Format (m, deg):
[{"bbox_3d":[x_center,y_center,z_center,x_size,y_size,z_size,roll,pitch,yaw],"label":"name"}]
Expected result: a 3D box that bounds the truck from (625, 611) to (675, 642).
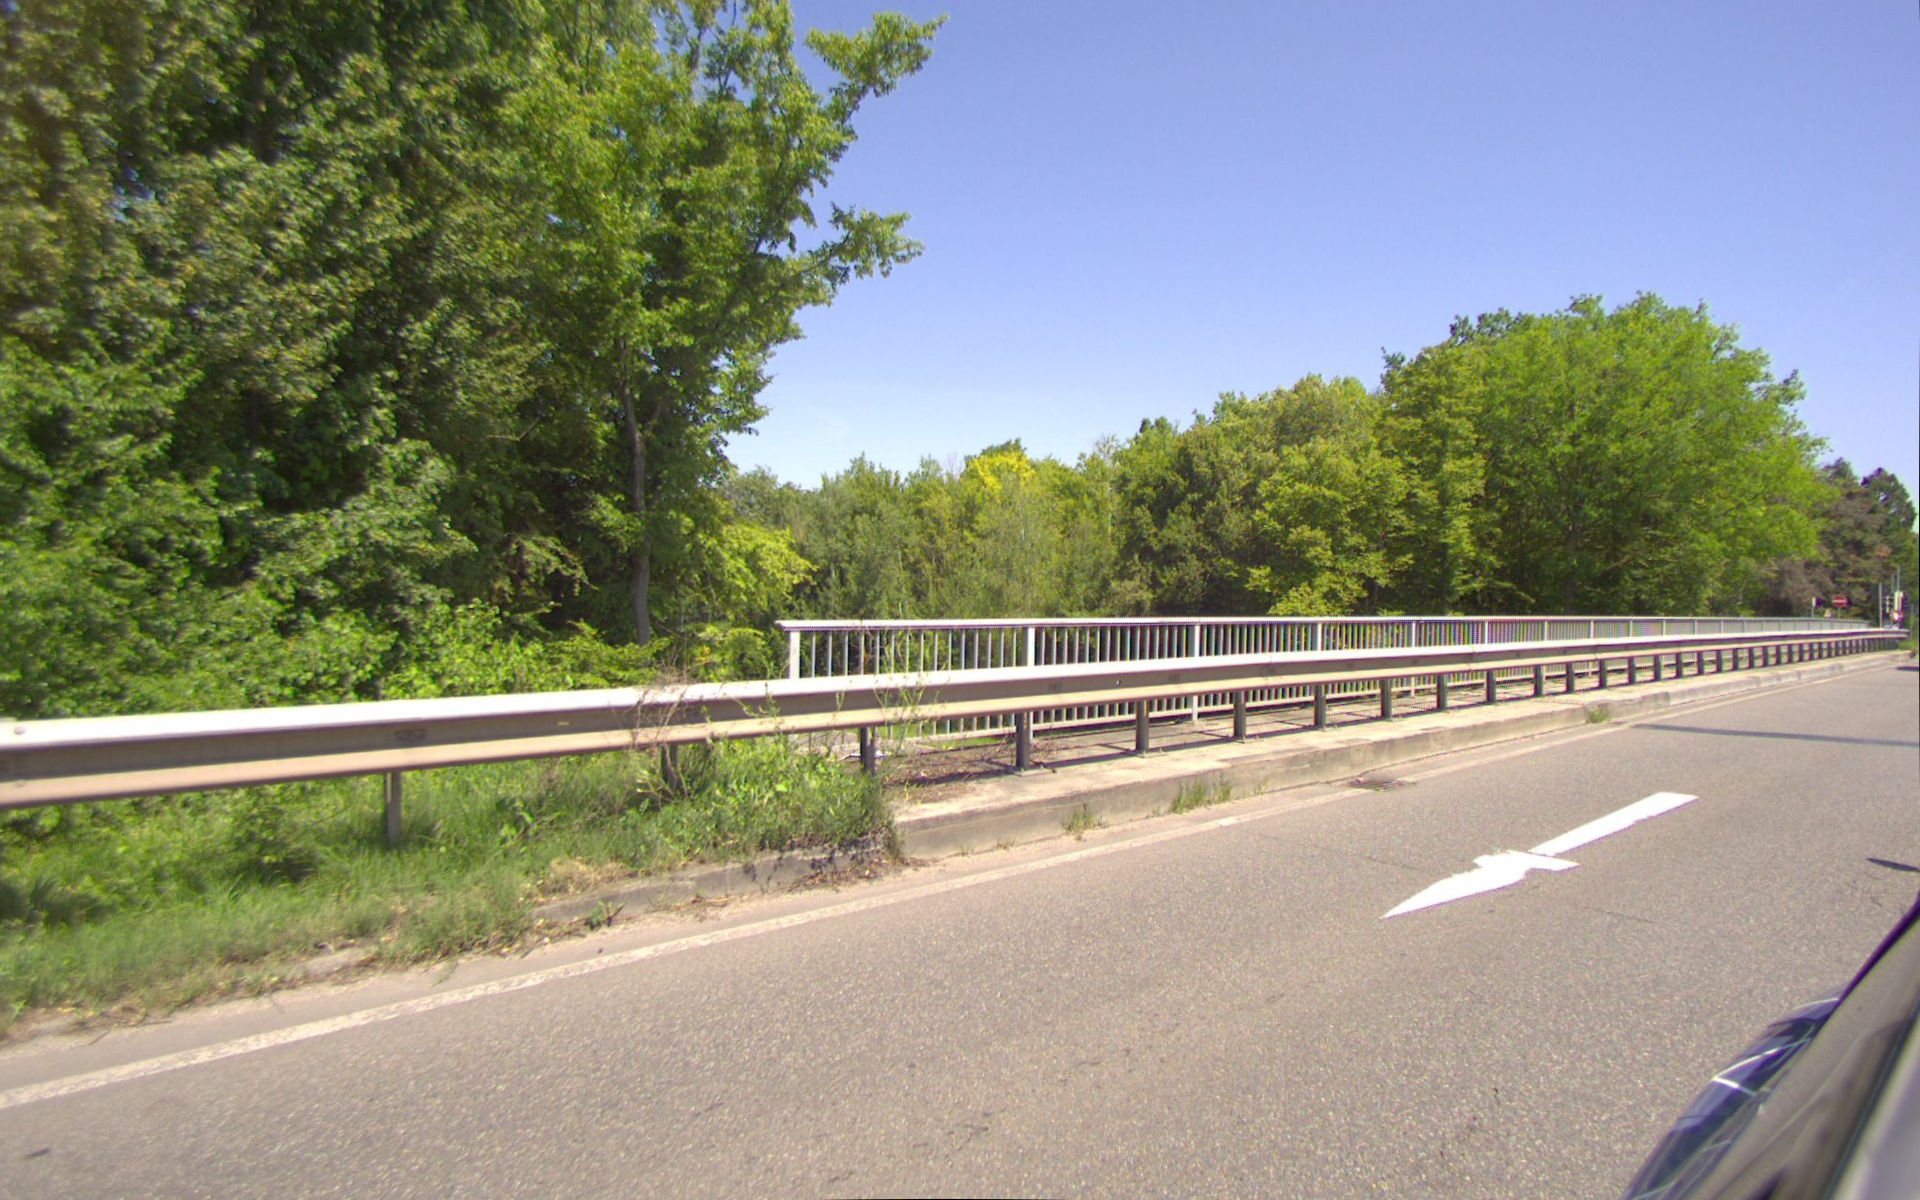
[{"bbox_3d":[-33.043,2.799,108.007,2.089,3.121,4.897,2,1,32],"label":"truck"}]
